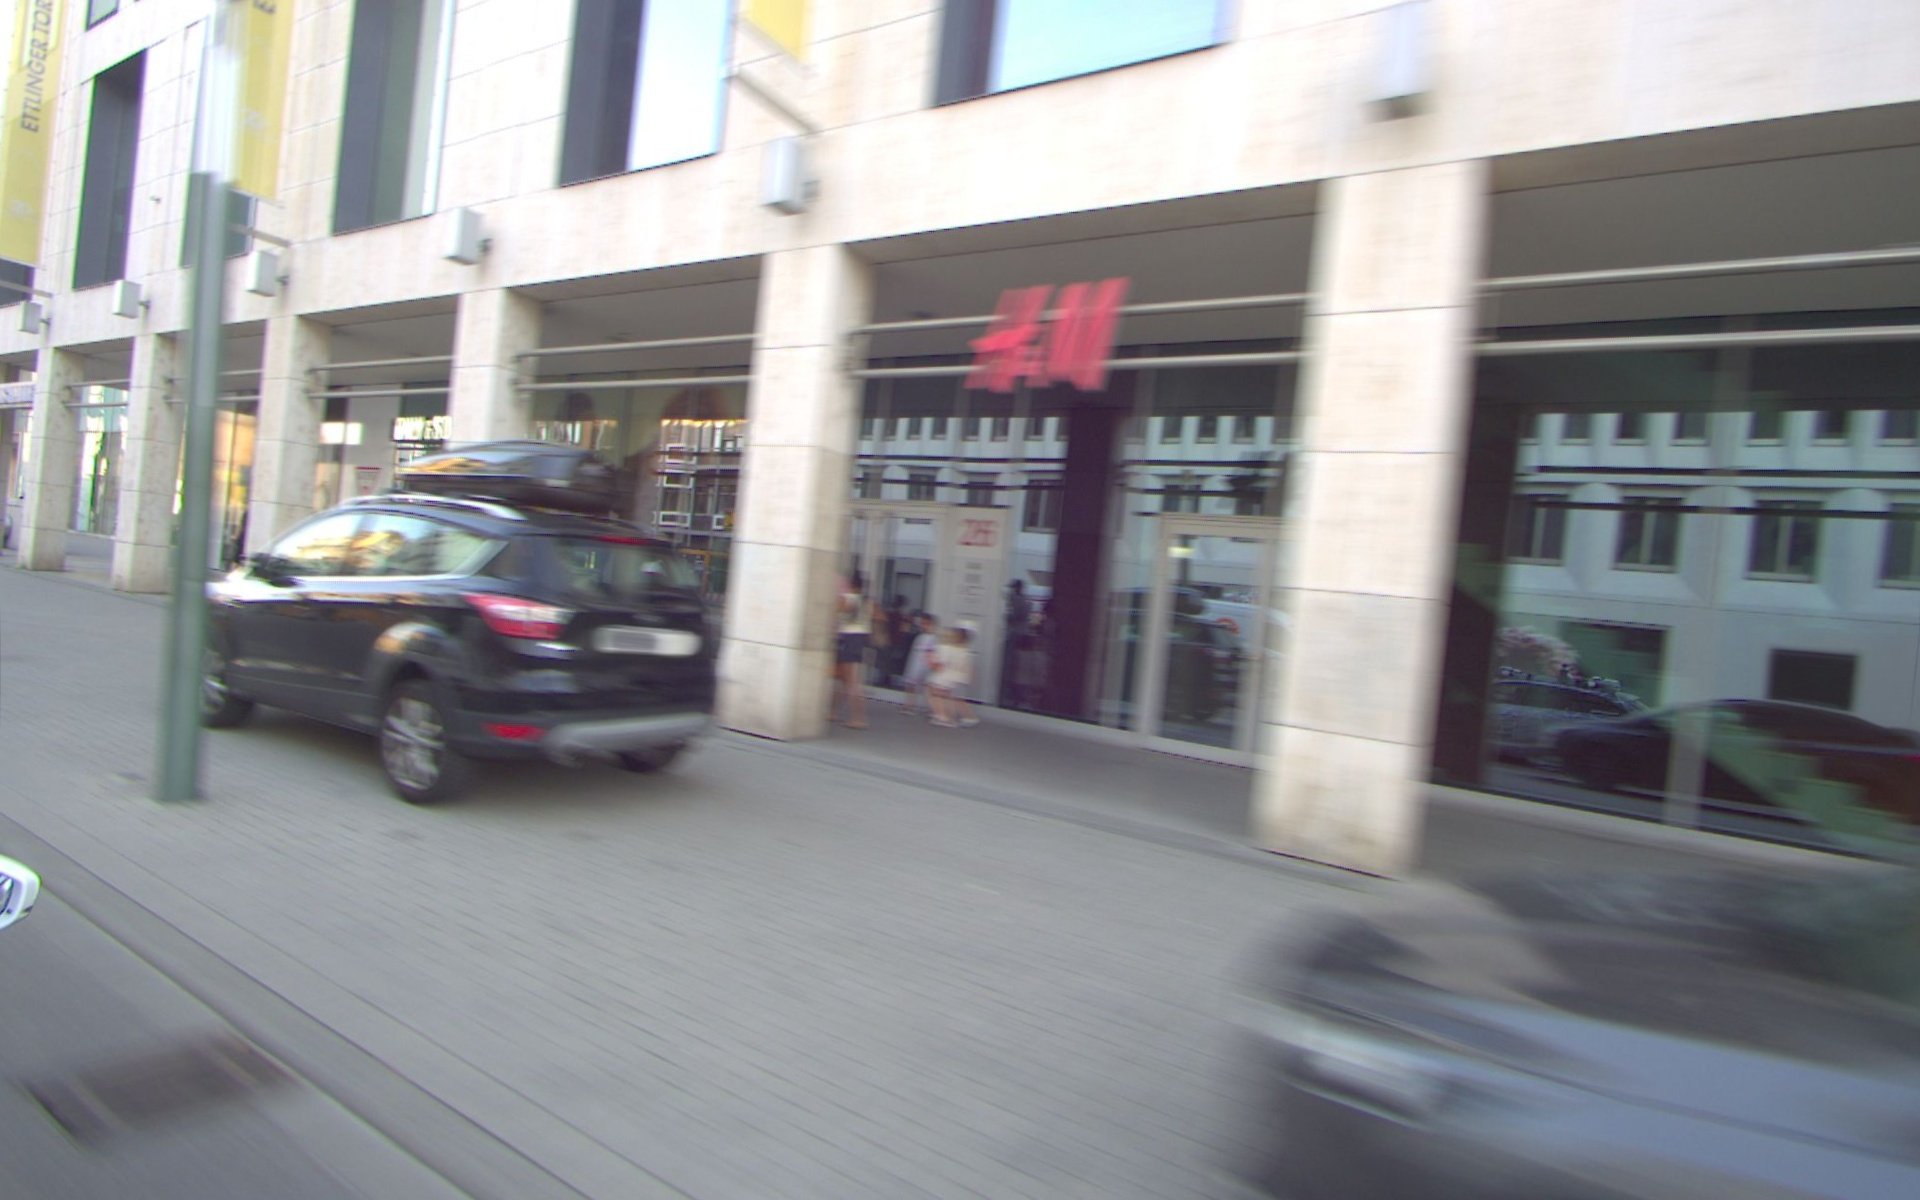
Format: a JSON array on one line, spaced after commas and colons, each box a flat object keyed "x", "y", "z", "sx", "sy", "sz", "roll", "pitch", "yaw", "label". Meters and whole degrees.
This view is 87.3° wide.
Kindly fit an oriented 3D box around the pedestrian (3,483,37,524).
[{"x": -44.462, "y": -4.563, "z": 47.574, "sx": 0.974, "sy": 1.800, "sz": 0.861, "roll": 7, "pitch": 2, "yaw": 32, "label": "pedestrian"}]

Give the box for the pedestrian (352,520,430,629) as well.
[{"x": -8.949, "y": -0.398, "z": 15.833, "sx": 0.762, "sy": 1.587, "sz": 0.634, "roll": 8, "pitch": 2, "yaw": 32, "label": "pedestrian"}]

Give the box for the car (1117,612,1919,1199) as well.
[{"x": 2.517, "y": 0.969, "z": 1.487, "sx": 4.124, "sy": 1.511, "sz": 1.794, "roll": 6, "pitch": 3, "yaw": 33, "label": "car"}]

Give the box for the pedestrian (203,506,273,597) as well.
[{"x": -13.385, "y": -0.891, "z": 18.649, "sx": 0.717, "sy": 1.561, "sz": 0.725, "roll": 6, "pitch": 0, "yaw": 32, "label": "pedestrian"}]

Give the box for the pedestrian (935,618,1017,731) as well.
[{"x": 0.172, "y": 0.796, "z": 10.873, "sx": 0.592, "sy": 1.111, "sz": 0.487, "roll": 8, "pitch": 2, "yaw": 32, "label": "pedestrian"}]

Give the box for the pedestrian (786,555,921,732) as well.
[{"x": -1.049, "y": 0.424, "z": 9.949, "sx": 0.862, "sy": 1.587, "sz": 0.765, "roll": 8, "pitch": 2, "yaw": 32, "label": "pedestrian"}]

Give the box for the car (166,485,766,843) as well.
[{"x": -3.425, "y": 0.210, "z": 6.741, "sx": 3.991, "sy": 1.660, "sz": 1.767, "roll": 6, "pitch": 3, "yaw": 33, "label": "car"}]

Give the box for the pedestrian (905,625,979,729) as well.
[{"x": -0.189, "y": 0.803, "z": 10.538, "sx": 0.517, "sy": 0.998, "sz": 0.420, "roll": 8, "pitch": 2, "yaw": 32, "label": "pedestrian"}]

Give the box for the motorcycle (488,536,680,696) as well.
[{"x": -3.983, "y": 0.142, "z": 10.576, "sx": 2.102, "sy": 1.434, "sz": 0.693, "roll": 6, "pitch": 0, "yaw": 35, "label": "motorcycle"}]

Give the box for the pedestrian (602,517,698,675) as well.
[{"x": -3.561, "y": -0.042, "z": 11.561, "sx": 0.684, "sy": 1.720, "sz": 0.591, "roll": 7, "pitch": 1, "yaw": 30, "label": "pedestrian"}]

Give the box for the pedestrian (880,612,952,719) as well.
[{"x": -0.491, "y": 0.727, "z": 11.264, "sx": 0.517, "sy": 1.111, "sz": 0.420, "roll": 8, "pitch": 2, "yaw": 32, "label": "pedestrian"}]

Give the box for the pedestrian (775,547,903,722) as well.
[{"x": -1.283, "y": 0.364, "z": 10.688, "sx": 0.862, "sy": 1.703, "sz": 0.765, "roll": 8, "pitch": 2, "yaw": 32, "label": "pedestrian"}]
